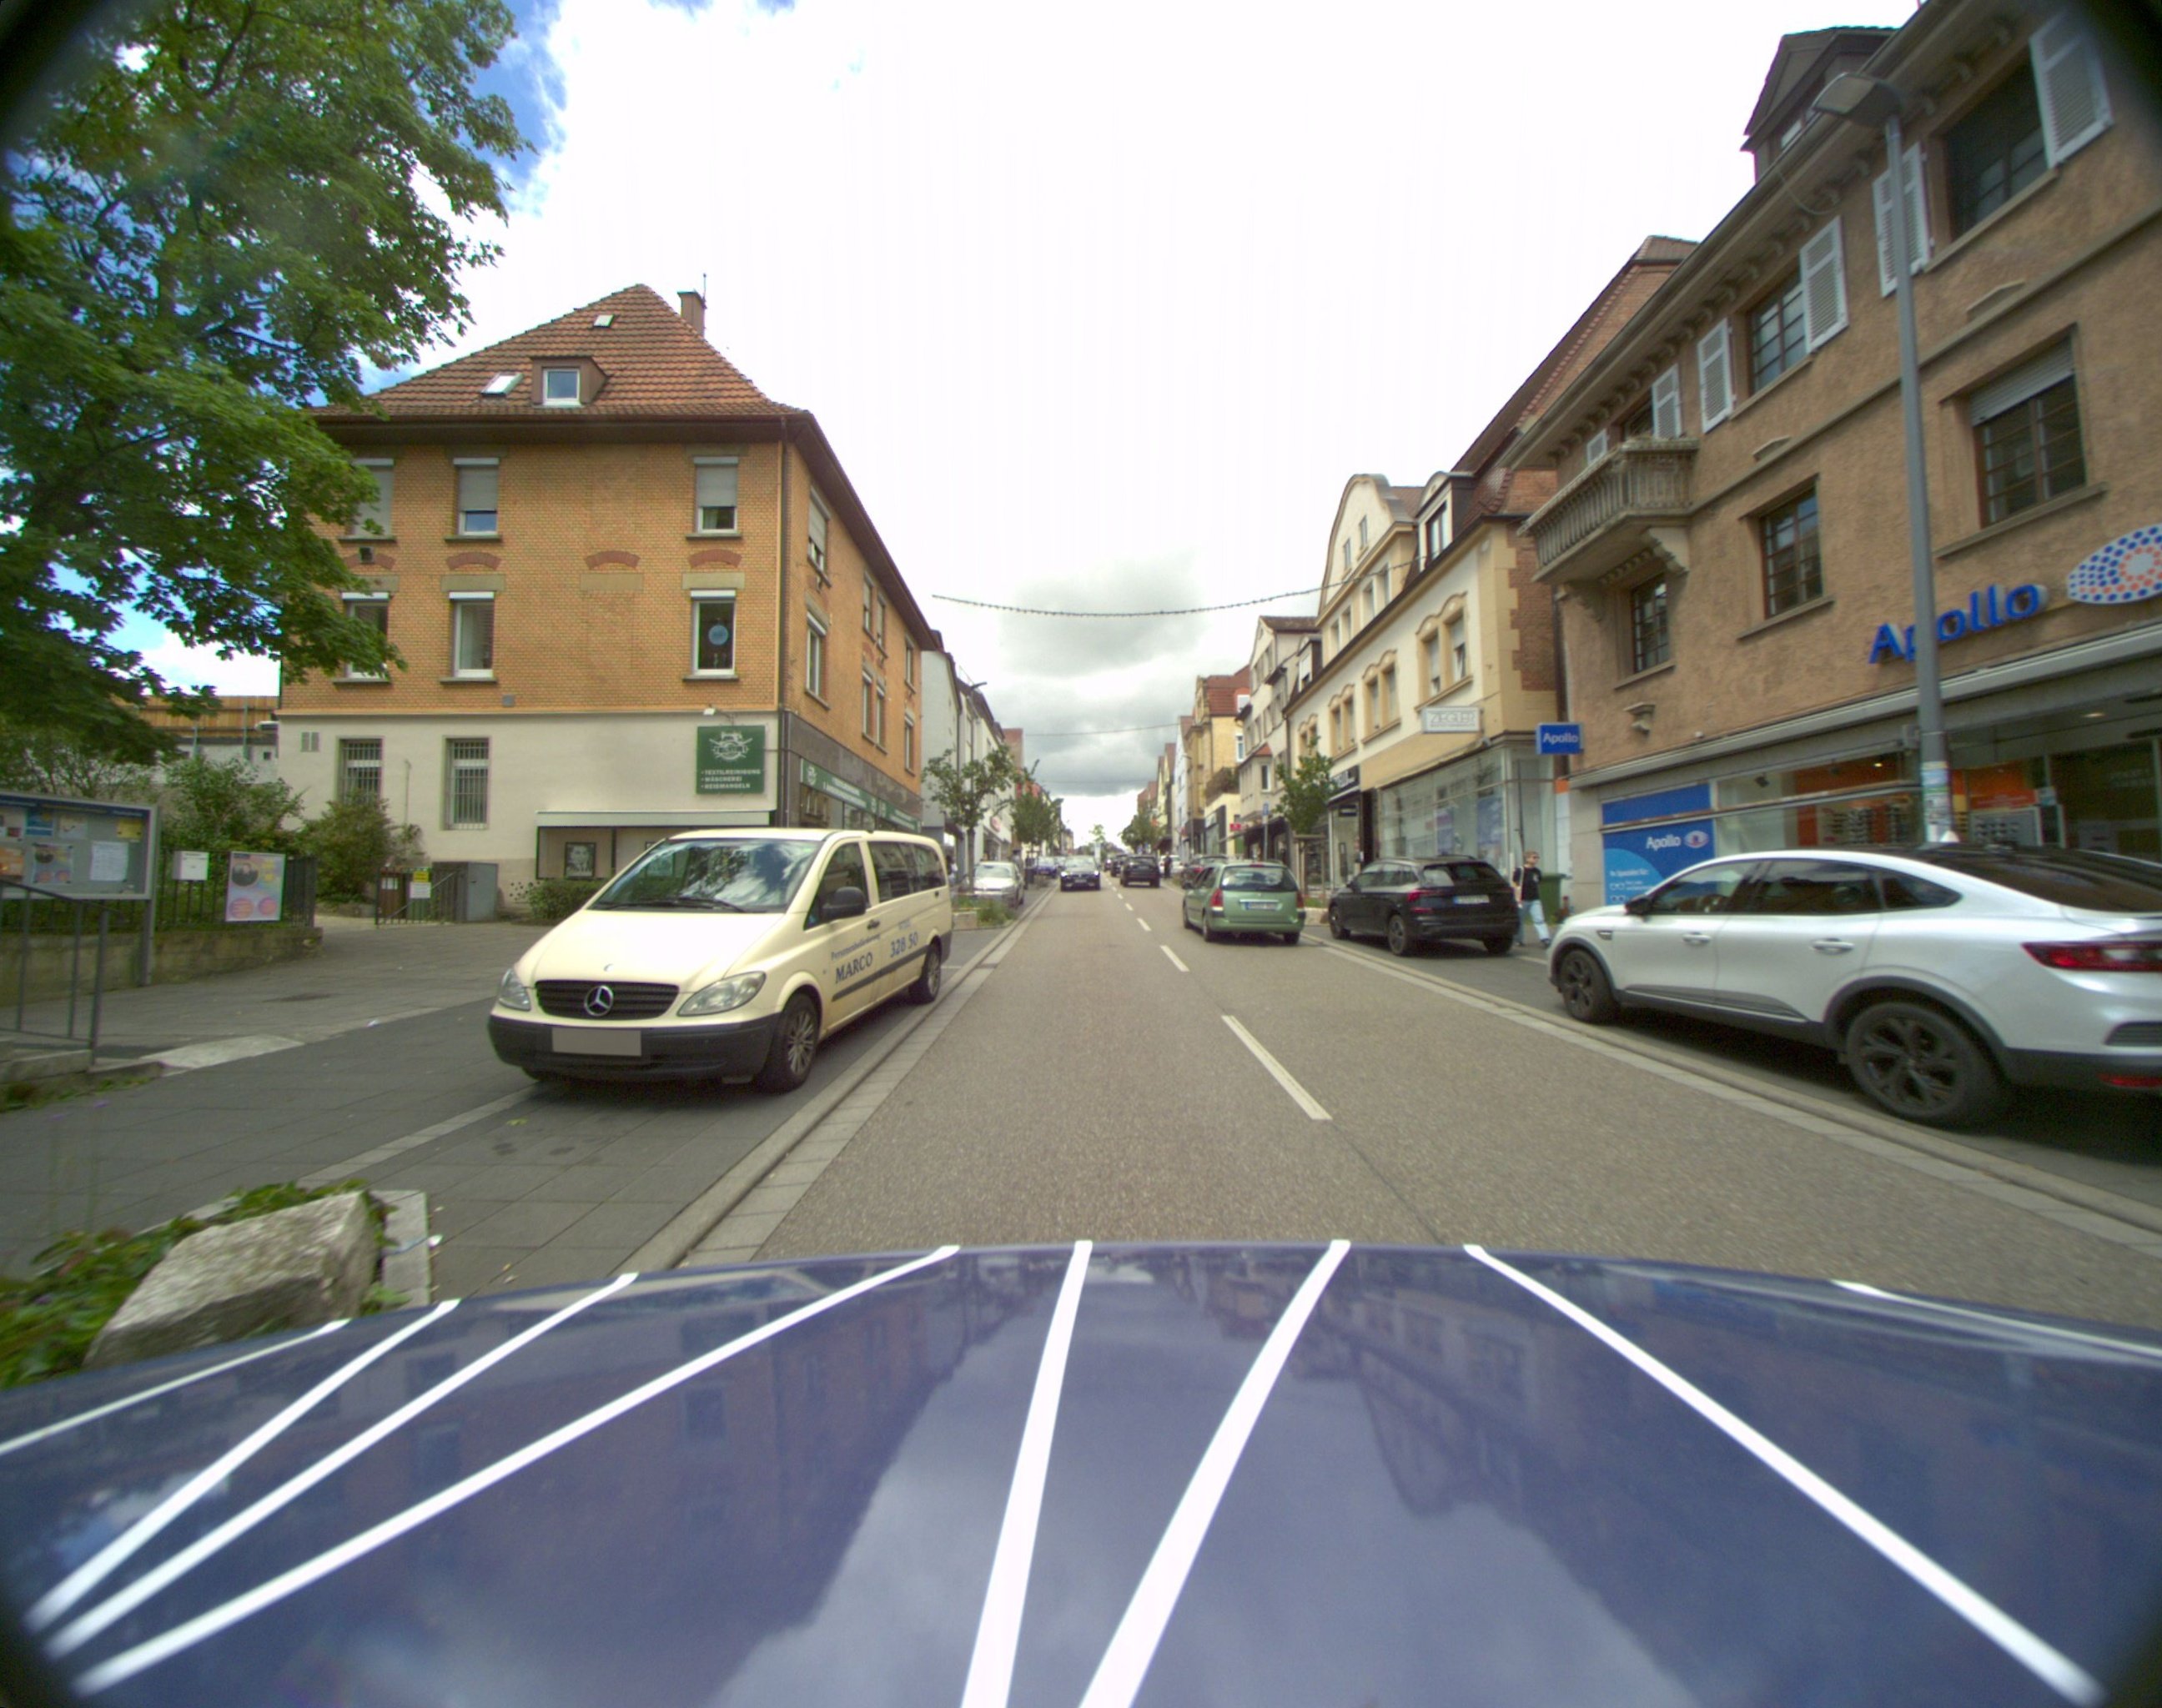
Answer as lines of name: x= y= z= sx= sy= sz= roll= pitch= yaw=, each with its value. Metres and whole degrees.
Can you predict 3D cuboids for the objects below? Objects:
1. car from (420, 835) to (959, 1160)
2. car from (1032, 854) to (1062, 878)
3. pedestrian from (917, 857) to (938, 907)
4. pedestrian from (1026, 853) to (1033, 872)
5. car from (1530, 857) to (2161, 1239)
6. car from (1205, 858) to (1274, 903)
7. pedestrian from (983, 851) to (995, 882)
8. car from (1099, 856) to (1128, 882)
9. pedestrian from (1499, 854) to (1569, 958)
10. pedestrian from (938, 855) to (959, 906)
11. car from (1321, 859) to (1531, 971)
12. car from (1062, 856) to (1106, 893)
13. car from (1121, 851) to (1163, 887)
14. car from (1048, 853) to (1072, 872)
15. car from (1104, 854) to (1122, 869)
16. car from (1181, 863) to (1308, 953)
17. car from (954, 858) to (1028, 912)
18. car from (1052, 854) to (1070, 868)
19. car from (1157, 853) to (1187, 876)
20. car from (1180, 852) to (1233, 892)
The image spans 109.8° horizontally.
car: x=-2.685 y=0.808 z=6.879 sx=1.889 sy=1.836 sz=5.032 roll=0 pitch=0 yaw=6
car: x=-2.258 y=0.777 z=51.383 sx=1.774 sy=1.515 sz=3.529 roll=0 pitch=0 yaw=1
pedestrian: x=-4.776 y=0.871 z=23.675 sx=0.556 sy=1.512 sz=0.592 roll=2 pitch=1 yaw=-9
pedestrian: x=-4.162 y=0.681 z=61.744 sx=0.549 sy=1.515 sz=0.412 roll=0 pitch=1 yaw=1
car: x=5.404 y=0.833 z=5.406 sx=1.730 sy=1.564 sz=4.454 roll=-1 pitch=0 yaw=-1
car: x=5.449 y=0.871 z=26.500 sx=1.732 sy=1.423 sz=3.503 roll=-1 pitch=0 yaw=1
pedestrian: x=-4.612 y=0.642 z=38.128 sx=0.567 sy=1.531 sz=0.525 roll=2 pitch=1 yaw=-6
car: x=2.212 y=1.039 z=53.218 sx=1.894 sy=1.670 sz=3.735 roll=1 pitch=0 yaw=1
pedestrian: x=7.180 y=0.802 z=12.069 sx=0.629 sy=1.564 sz=0.650 roll=-4 pitch=0 yaw=1
pedestrian: x=-4.183 y=0.826 z=23.924 sx=0.567 sy=1.594 sz=0.525 roll=1 pitch=1 yaw=-13
car: x=5.578 y=0.885 z=12.885 sx=1.668 sy=1.517 sz=3.963 roll=-2 pitch=0 yaw=-1
car: x=0.163 y=0.899 z=35.341 sx=1.894 sy=1.515 sz=3.735 roll=-2 pitch=0 yaw=1
car: x=3.023 y=0.714 z=38.162 sx=1.830 sy=1.679 sz=3.859 roll=0 pitch=0 yaw=0
car: x=-1.650 y=0.680 z=61.405 sx=1.774 sy=1.515 sz=3.529 roll=0 pitch=0 yaw=1
car: x=3.206 y=0.740 z=76.126 sx=1.690 sy=1.403 sz=3.529 roll=0 pitch=0 yaw=1
car: x=3.080 y=0.951 z=15.166 sx=1.686 sy=1.492 sz=4.153 roll=0 pitch=0 yaw=1
car: x=-2.747 y=0.911 z=24.026 sx=1.816 sy=1.439 sz=3.945 roll=2 pitch=0 yaw=0
car: x=-1.943 y=0.681 z=74.580 sx=1.690 sy=1.365 sz=3.529 roll=0 pitch=0 yaw=1
car: x=6.088 y=0.681 z=51.209 sx=1.690 sy=1.515 sz=3.529 roll=0 pitch=0 yaw=1
car: x=5.508 y=0.747 z=33.737 sx=1.732 sy=1.670 sz=3.992 roll=-1 pitch=0 yaw=1
